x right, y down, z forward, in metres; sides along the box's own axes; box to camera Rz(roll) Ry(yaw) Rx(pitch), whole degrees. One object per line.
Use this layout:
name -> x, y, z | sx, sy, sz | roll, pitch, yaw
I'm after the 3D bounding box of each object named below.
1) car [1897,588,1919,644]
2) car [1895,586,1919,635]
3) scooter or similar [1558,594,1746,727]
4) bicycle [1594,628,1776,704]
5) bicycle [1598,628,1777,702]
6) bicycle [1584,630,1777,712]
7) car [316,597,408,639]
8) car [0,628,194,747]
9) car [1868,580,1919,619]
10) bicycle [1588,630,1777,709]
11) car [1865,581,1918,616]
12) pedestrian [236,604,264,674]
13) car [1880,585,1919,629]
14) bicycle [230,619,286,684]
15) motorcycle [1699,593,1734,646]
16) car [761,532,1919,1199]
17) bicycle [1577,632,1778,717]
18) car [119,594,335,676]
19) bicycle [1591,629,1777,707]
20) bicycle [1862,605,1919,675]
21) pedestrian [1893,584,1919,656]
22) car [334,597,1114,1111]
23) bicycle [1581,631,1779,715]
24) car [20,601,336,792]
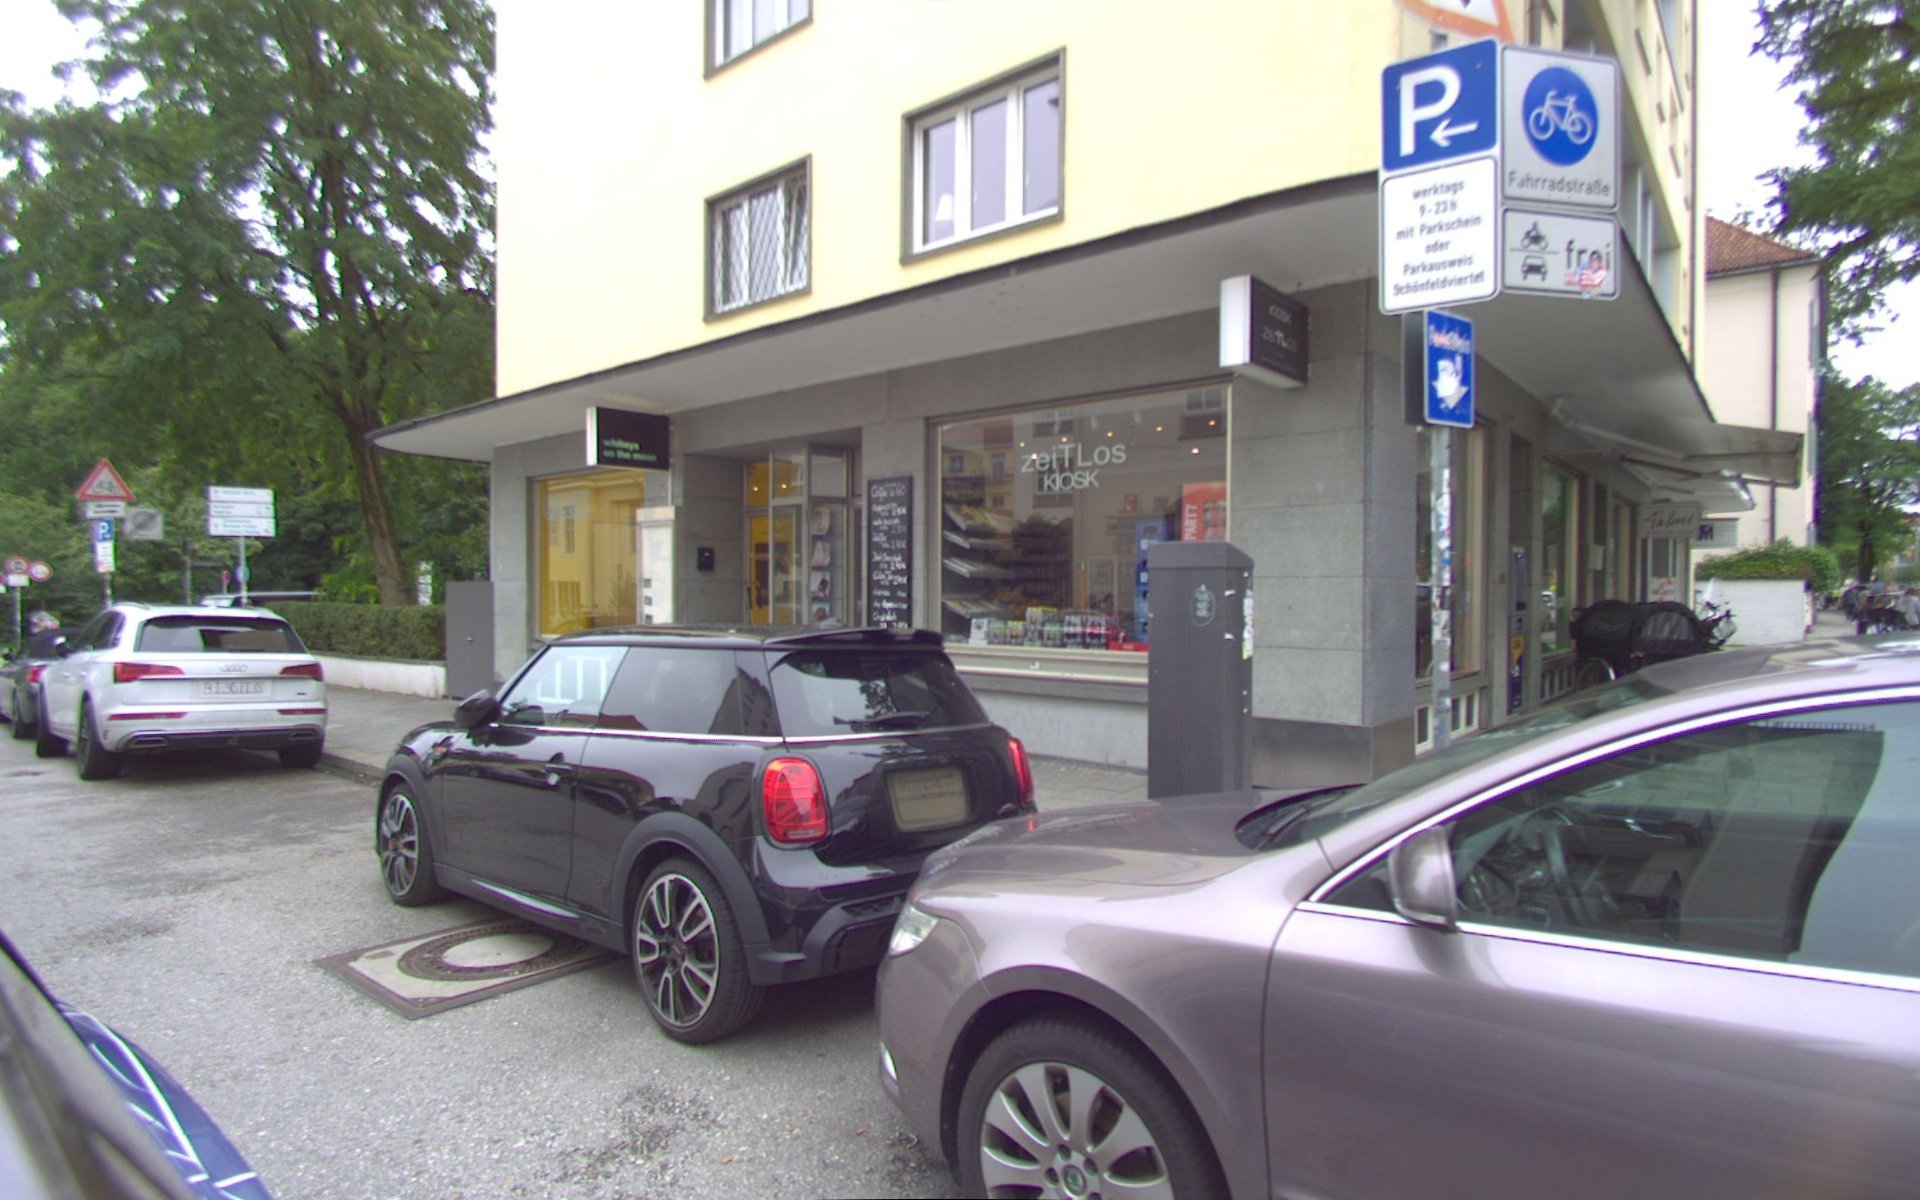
car -> 29.815, 0.435, 30.795 | 1.775, 1.608, 4.109 | -5, -3, 42
car -> 33.623, 0.321, 34.979 | 1.775, 1.608, 4.109 | -5, -3, 42
scooter or similar -> 6.713, 0.554, 9.904 | 0.985, 1.210, 1.203 | 1, 0, 0
bicycle -> 8.516, 0.752, 11.937 | 1.721, 0.786, 0.289 | 1, 1, 39
bicycle -> 8.707, 0.755, 12.167 | 1.721, 0.786, 0.289 | 1, 1, 39
bicycle -> 7.961, 0.764, 11.236 | 1.721, 0.786, 0.289 | 1, 1, 39
car -> -31.894, 0.937, 54.100 | 3.900, 2.120, 1.911 | -1, 1, -18
car -> -12.337, 1.109, 14.184 | 4.096, 1.421, 1.727 | -1, -2, 41
car -> 42.240, -0.018, 45.646 | 1.775, 1.608, 4.109 | -5, -3, 42
bicycle -> 8.146, 0.762, 11.471 | 1.721, 0.786, 0.289 | 1, 1, 39
car -> 46.448, -0.060, 50.490 | 1.775, 1.608, 4.109 | -5, -3, 42
pedestrian -> -18.558, 1.015, 26.462 | 0.551, 1.812, 0.642 | -1, -2, -31
car -> 37.065, 0.249, 39.237 | 1.996, 1.608, 4.109 | -5, -3, 42
bicycle -> -14.154, 1.012, 20.392 | 1.854, 1.219, 0.555 | 0, 1, 44
motorcycle -> 16.906, 0.420, 22.603 | 0.462, 1.092, 1.821 | 1, 2, 41
car -> 1.946, 0.670, 1.660 | 4.944, 1.482, 1.663 | -1, -2, 38
bicycle -> 7.591, 0.765, 10.767 | 1.721, 0.786, 0.289 | 1, 1, 39
car -> -19.743, 0.862, 27.492 | 1.926, 2.016, 4.382 | 1, 1, 26
bicycle -> 8.332, 0.759, 11.709 | 1.721, 0.786, 0.289 | 1, 1, 39
bicycle -> 16.423, 0.664, 17.755 | 0.818, 1.110, 2.340 | 1, 1, 43
pedestrian -> 21.396, 0.441, 22.531 | 0.672, 1.594, 0.574 | 1, 0, 2
car -> -1.430, 0.771, 4.934 | 4.096, 1.482, 1.661 | -1, -2, 42
bicycle -> 7.778, 0.765, 10.995 | 1.721, 0.786, 0.289 | 1, 1, 39
car -> -8.276, 0.889, 10.563 | 4.335, 1.596, 1.784 | -2, -3, 41
